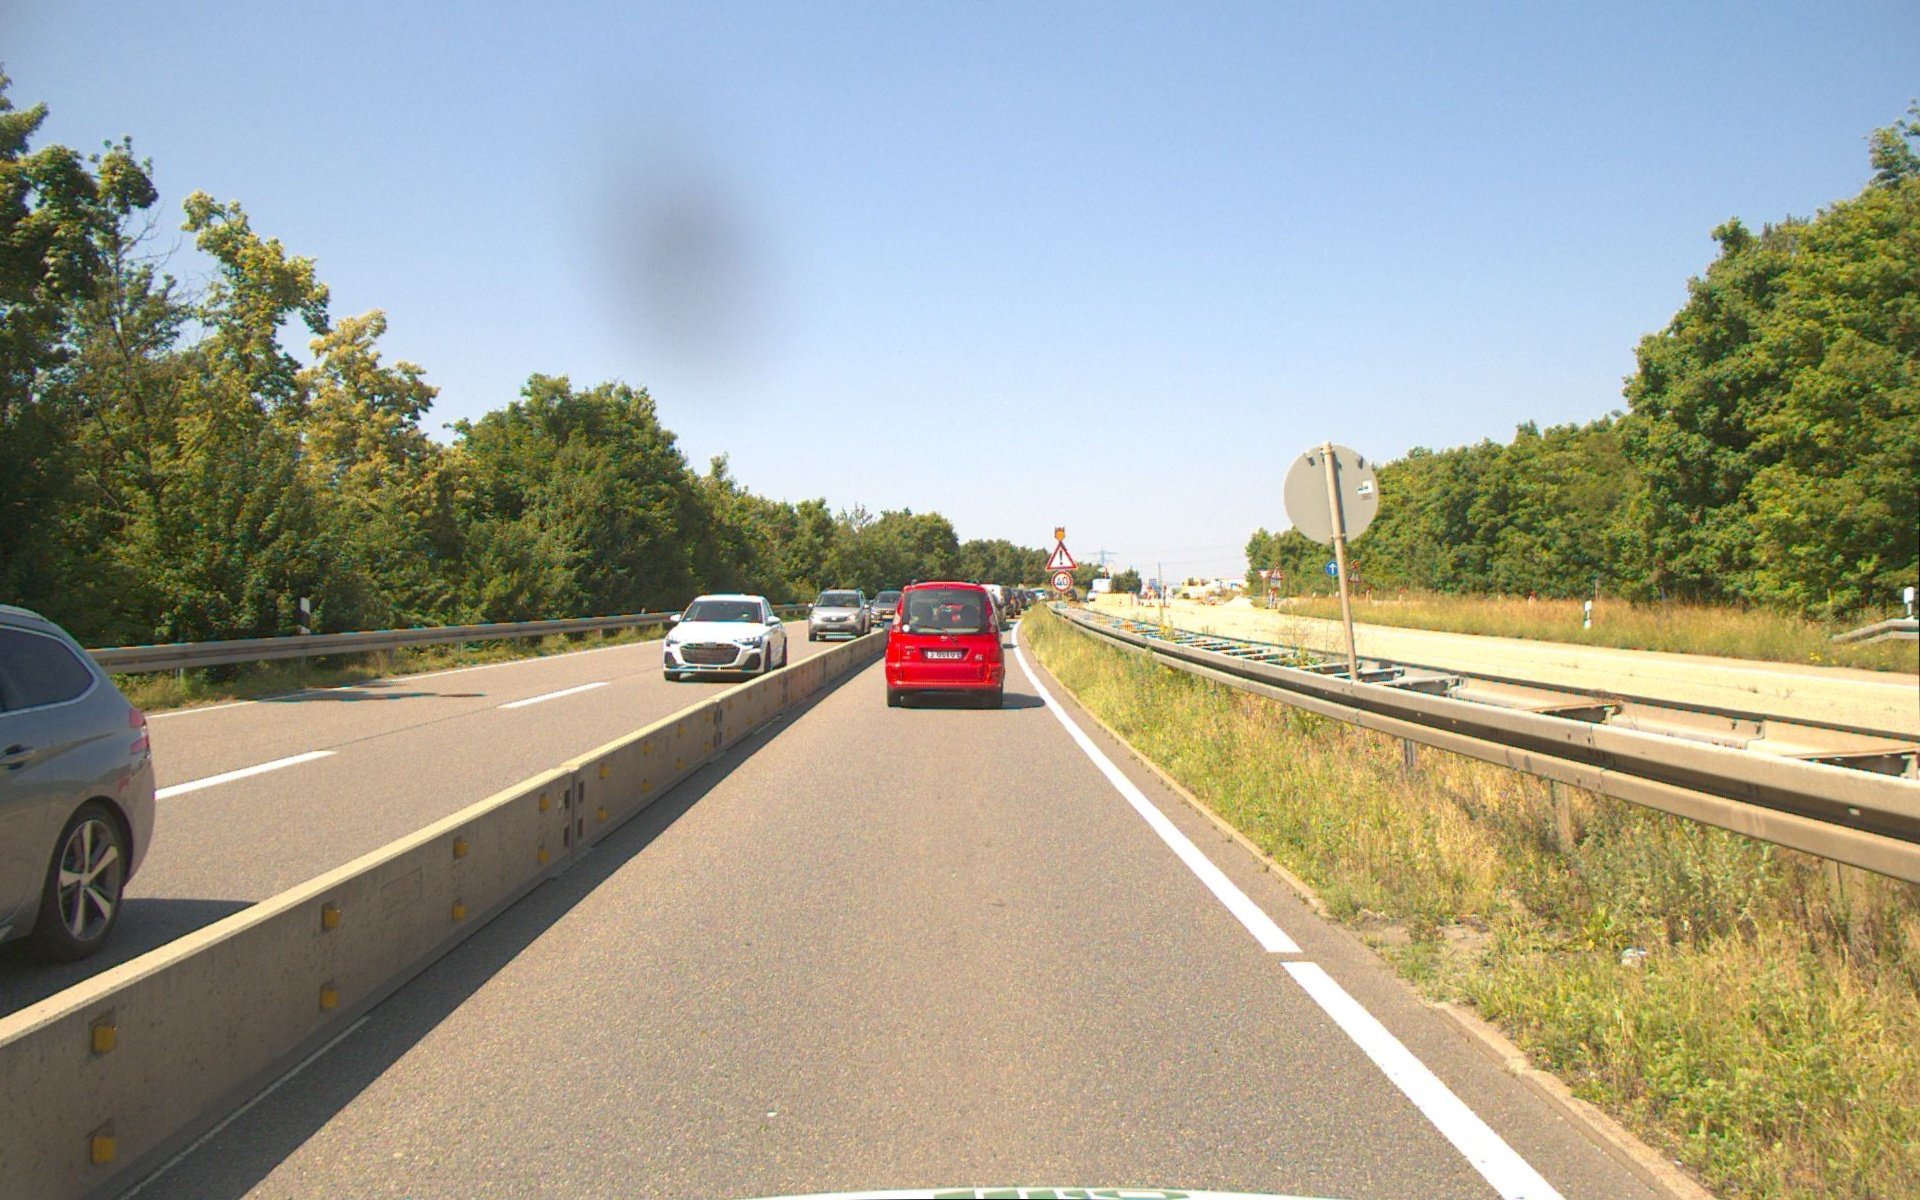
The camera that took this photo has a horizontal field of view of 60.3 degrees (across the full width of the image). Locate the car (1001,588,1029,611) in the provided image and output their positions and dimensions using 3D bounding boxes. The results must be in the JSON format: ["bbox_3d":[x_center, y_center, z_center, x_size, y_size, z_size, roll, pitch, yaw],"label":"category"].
[{"bbox_3d":[4.018,-0.044,121.859,1.952,1.613,4.000,0,0,1],"label":"car"}]

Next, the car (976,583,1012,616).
[{"bbox_3d":[1.914,-0.035,93.949,1.953,1.780,4.000,0,0,0],"label":"car"}]

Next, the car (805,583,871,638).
[{"bbox_3d":[-3.766,0.312,51.578,1.791,1.658,3.784,0,0,0],"label":"car"}]

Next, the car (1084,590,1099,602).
[{"bbox_3d":[17.837,-0.534,224.118,1.952,1.512,4.001,-1,0,3],"label":"car"}]

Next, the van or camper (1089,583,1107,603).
[{"bbox_3d":[19.704,-1.027,235.999,2.280,2.754,4.594,-1,0,1],"label":"van or camper"}]

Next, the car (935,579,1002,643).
[{"bbox_3d":[0.210,0.294,47.607,1.793,1.752,3.999,0,0,-2],"label":"car"}]

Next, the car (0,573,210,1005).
[{"bbox_3d":[-4.217,0.665,5.267,1.689,1.522,4.388,0,0,-1],"label":"car"}]

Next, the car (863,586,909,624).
[{"bbox_3d":[-3.168,0.216,71.186,1.909,1.606,4.434,0,0,-2],"label":"car"}]

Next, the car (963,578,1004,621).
[{"bbox_3d":[1.144,-0.009,80.855,1.952,2.039,4.000,0,0,0],"label":"car"}]

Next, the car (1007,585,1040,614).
[{"bbox_3d":[4.017,-0.035,105.460,1.953,1.814,4.000,-1,0,0],"label":"car"}]

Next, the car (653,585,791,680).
[{"bbox_3d":[-4.161,0.530,29.581,1.909,1.565,4.434,0,0,-1],"label":"car"}]

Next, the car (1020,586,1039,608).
[{"bbox_3d":[5.761,-0.247,137.032,1.470,1.767,3.171,1,0,3],"label":"car"}]

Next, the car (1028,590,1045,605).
[{"bbox_3d":[6.926,-0.226,150.410,1.391,1.321,2.881,-1,0,5],"label":"car"}]

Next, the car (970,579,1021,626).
[{"bbox_3d":[1.425,0.087,68.243,1.953,1.870,3.999,0,0,-1],"label":"car"}]

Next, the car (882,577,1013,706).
[{"bbox_3d":[-0.215,0.538,23.781,1.716,1.702,3.999,0,0,-2],"label":"car"}]
